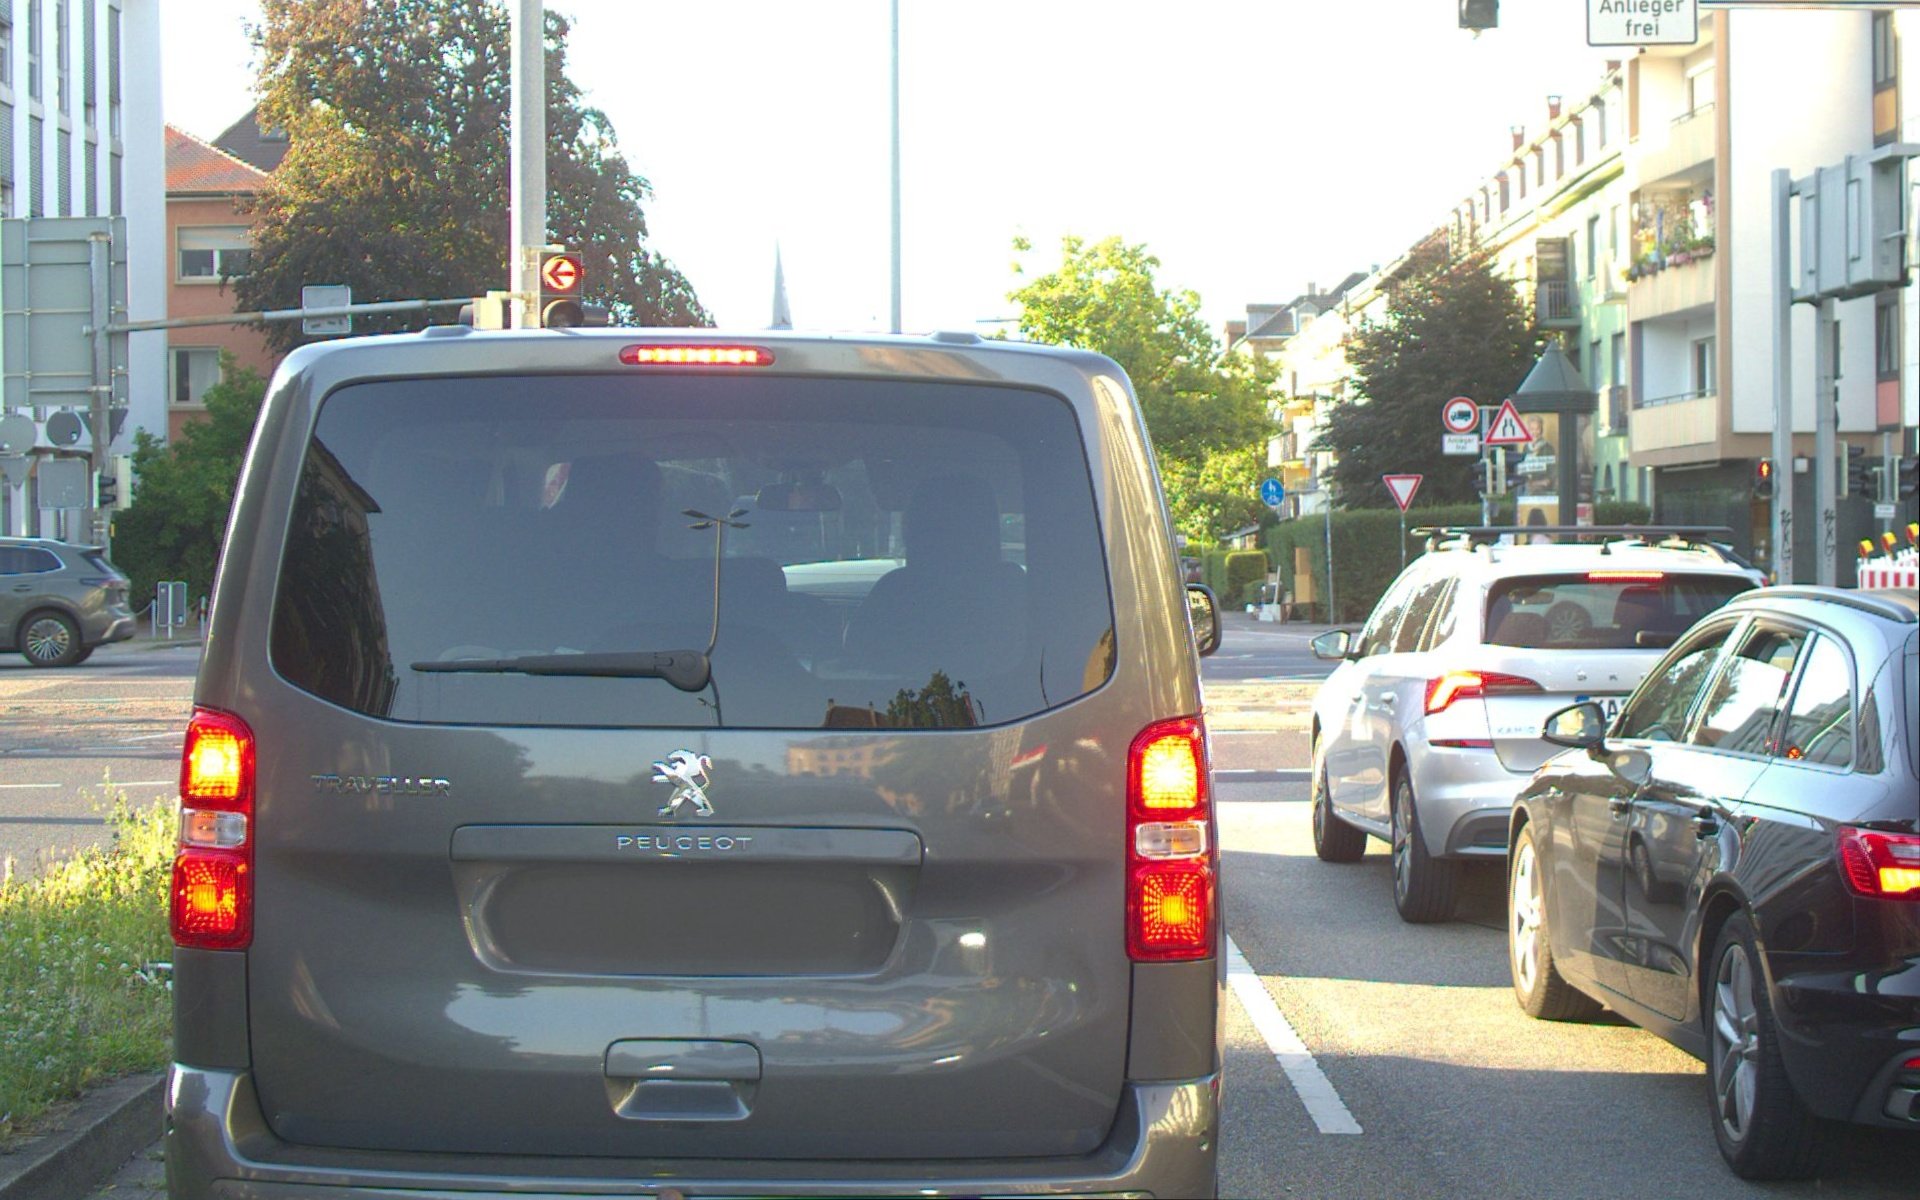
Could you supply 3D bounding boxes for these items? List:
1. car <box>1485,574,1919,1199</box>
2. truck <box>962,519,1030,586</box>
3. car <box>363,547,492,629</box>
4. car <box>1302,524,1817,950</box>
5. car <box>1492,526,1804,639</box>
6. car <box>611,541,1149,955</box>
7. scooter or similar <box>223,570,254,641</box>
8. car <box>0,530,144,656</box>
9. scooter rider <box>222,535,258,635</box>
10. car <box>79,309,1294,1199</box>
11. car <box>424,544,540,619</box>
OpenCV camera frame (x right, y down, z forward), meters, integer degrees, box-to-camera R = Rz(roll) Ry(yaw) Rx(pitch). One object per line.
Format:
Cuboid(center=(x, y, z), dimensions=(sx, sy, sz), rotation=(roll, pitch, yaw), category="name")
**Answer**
Cuboid(center=(2.619, 0.675, 9.283), dimensions=(1.681, 1.416, 4.214), rotation=(1, 1, -1), category="car")
Cuboid(center=(1.174, -1.532, 110.479), dimensions=(2.128, 2.079, 4.631), rotation=(-1, 1, 1), category="truck")
Cuboid(center=(-9.647, -0.239, 62.541), dimensions=(1.856, 1.415, 4.001), rotation=(-1, 1, -2), category="car")
Cuboid(center=(2.488, 0.493, 15.069), dimensions=(1.528, 1.608, 3.745), rotation=(1, 1, -1), category="car")
Cuboid(center=(9.163, -0.246, 45.898), dimensions=(3.673, 1.383, 1.697), rotation=(-2, 1, -12), category="car")
Cuboid(center=(-0.320, 0.516, 14.793), dimensions=(1.993, 1.525, 4.000), rotation=(0, 1, -1), category="car")
Cuboid(center=(-12.255, 0.090, 58.413), dimensions=(0.285, 1.184, 1.169), rotation=(0, 1, -1), category="scooter or similar")
Cuboid(center=(-12.606, -0.089, 43.325), dimensions=(4.338, 1.544, 1.788), rotation=(0, 1, -7), category="car")
Cuboid(center=(-12.251, -0.265, 58.518), dimensions=(0.481, 1.691, 0.636), rotation=(0, 1, -1), category="scooter rider")
Cuboid(center=(-0.467, 0.443, 7.736), dimensions=(1.907, 1.857, 4.527), rotation=(1, 1, -1), category="car")
Cuboid(center=(-9.430, -0.382, 68.102), dimensions=(1.856, 1.415, 4.001), rotation=(-1, 1, -2), category="car")
